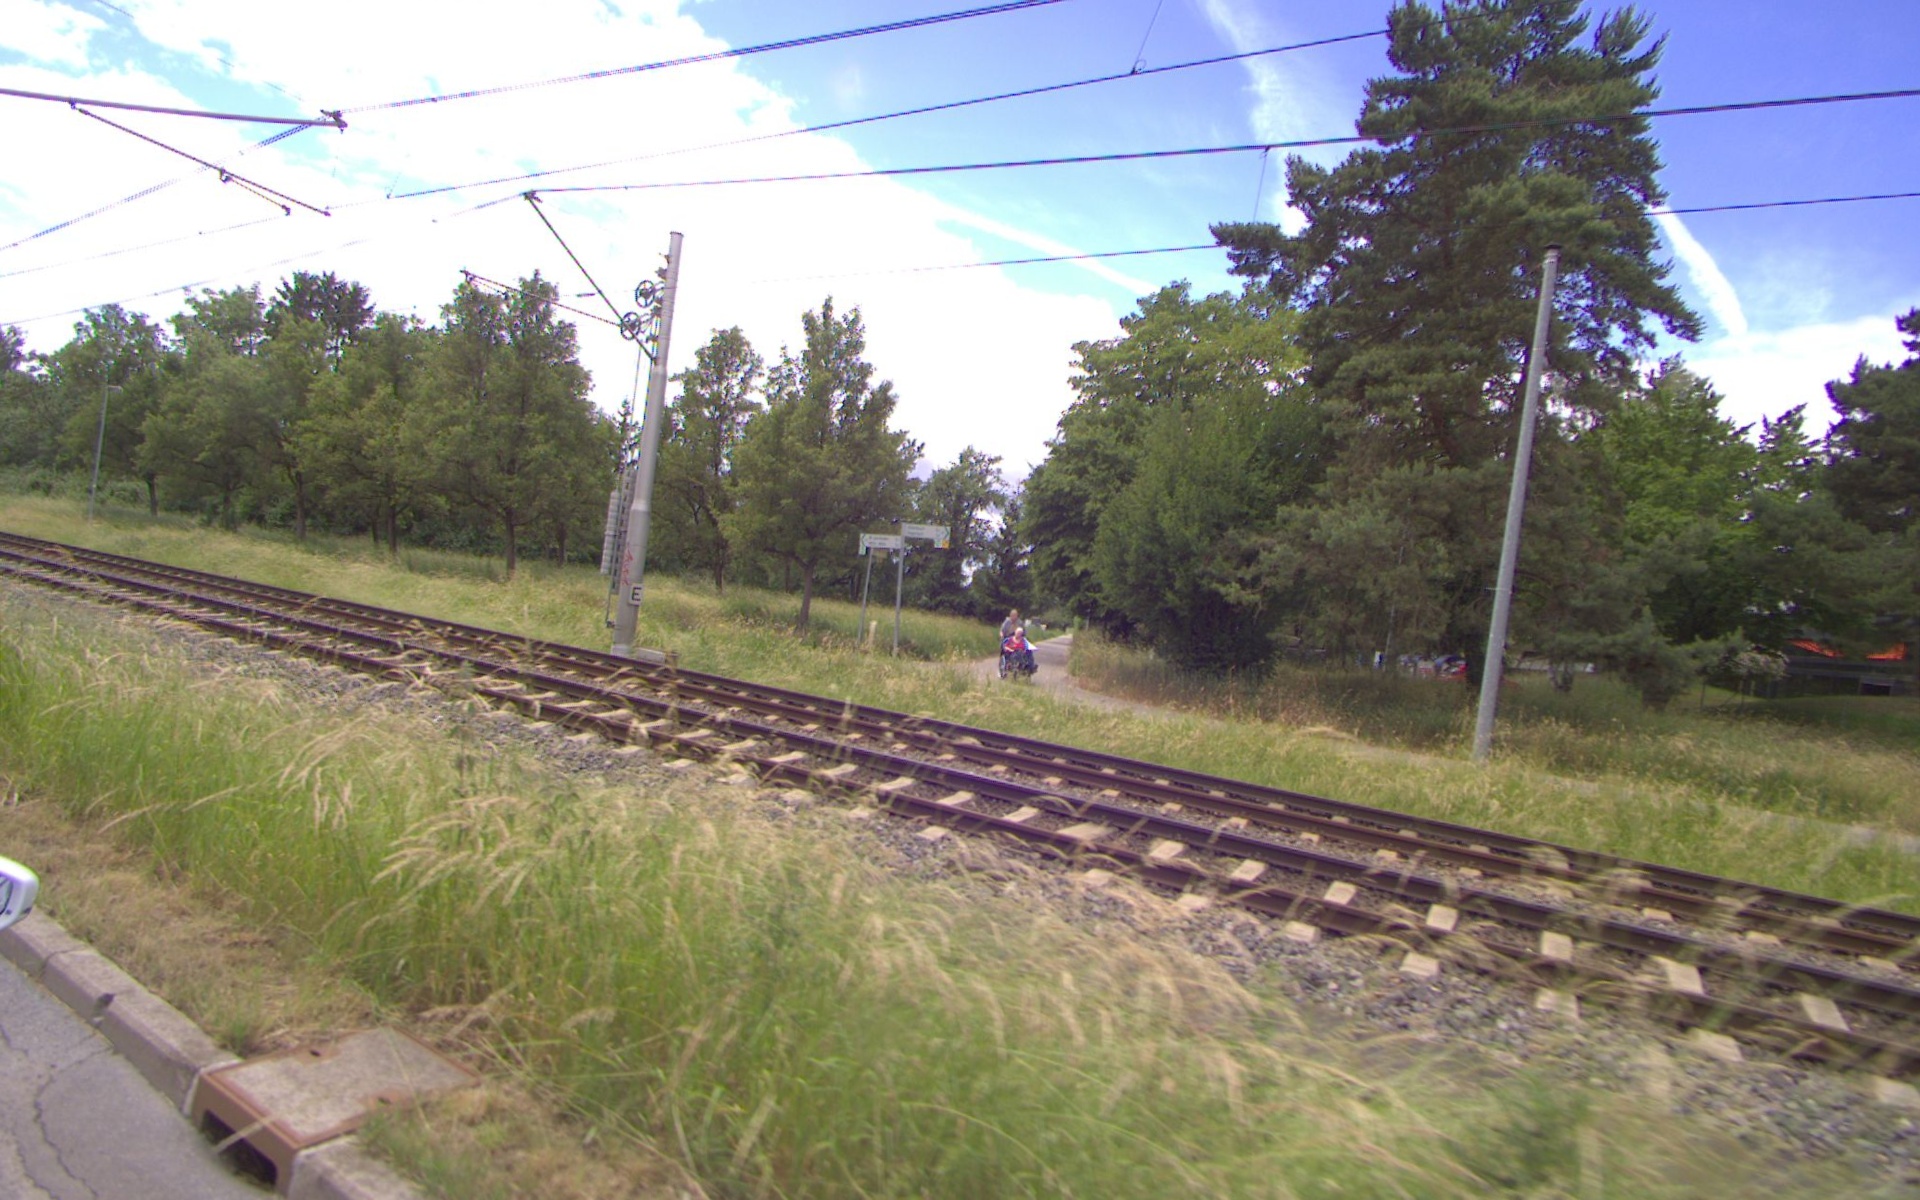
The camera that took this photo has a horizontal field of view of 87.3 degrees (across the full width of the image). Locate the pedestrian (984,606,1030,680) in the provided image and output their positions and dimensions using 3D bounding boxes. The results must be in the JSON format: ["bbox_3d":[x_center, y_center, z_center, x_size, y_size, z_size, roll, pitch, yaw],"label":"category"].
[{"bbox_3d":[1.139,1.037,24.634,0.648,1.687,0.955,6,0,-17],"label":"pedestrian"}]

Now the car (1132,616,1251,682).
[{"bbox_3d":[8.514,1.791,36.908,3.925,1.825,1.750,7,0,19],"label":"car"}]

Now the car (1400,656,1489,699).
[{"bbox_3d":[25.901,4.131,53.854,3.743,1.754,1.832,8,-1,6],"label":"car"}]

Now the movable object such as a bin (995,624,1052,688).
[{"bbox_3d":[1.469,1.285,23.512,0.650,1.326,1.636,6,0,-17],"label":"movable object such as a bin"}]

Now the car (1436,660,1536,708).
[{"bbox_3d":[25.631,4.059,49.083,3.743,1.754,1.832,8,-1,6],"label":"car"}]
